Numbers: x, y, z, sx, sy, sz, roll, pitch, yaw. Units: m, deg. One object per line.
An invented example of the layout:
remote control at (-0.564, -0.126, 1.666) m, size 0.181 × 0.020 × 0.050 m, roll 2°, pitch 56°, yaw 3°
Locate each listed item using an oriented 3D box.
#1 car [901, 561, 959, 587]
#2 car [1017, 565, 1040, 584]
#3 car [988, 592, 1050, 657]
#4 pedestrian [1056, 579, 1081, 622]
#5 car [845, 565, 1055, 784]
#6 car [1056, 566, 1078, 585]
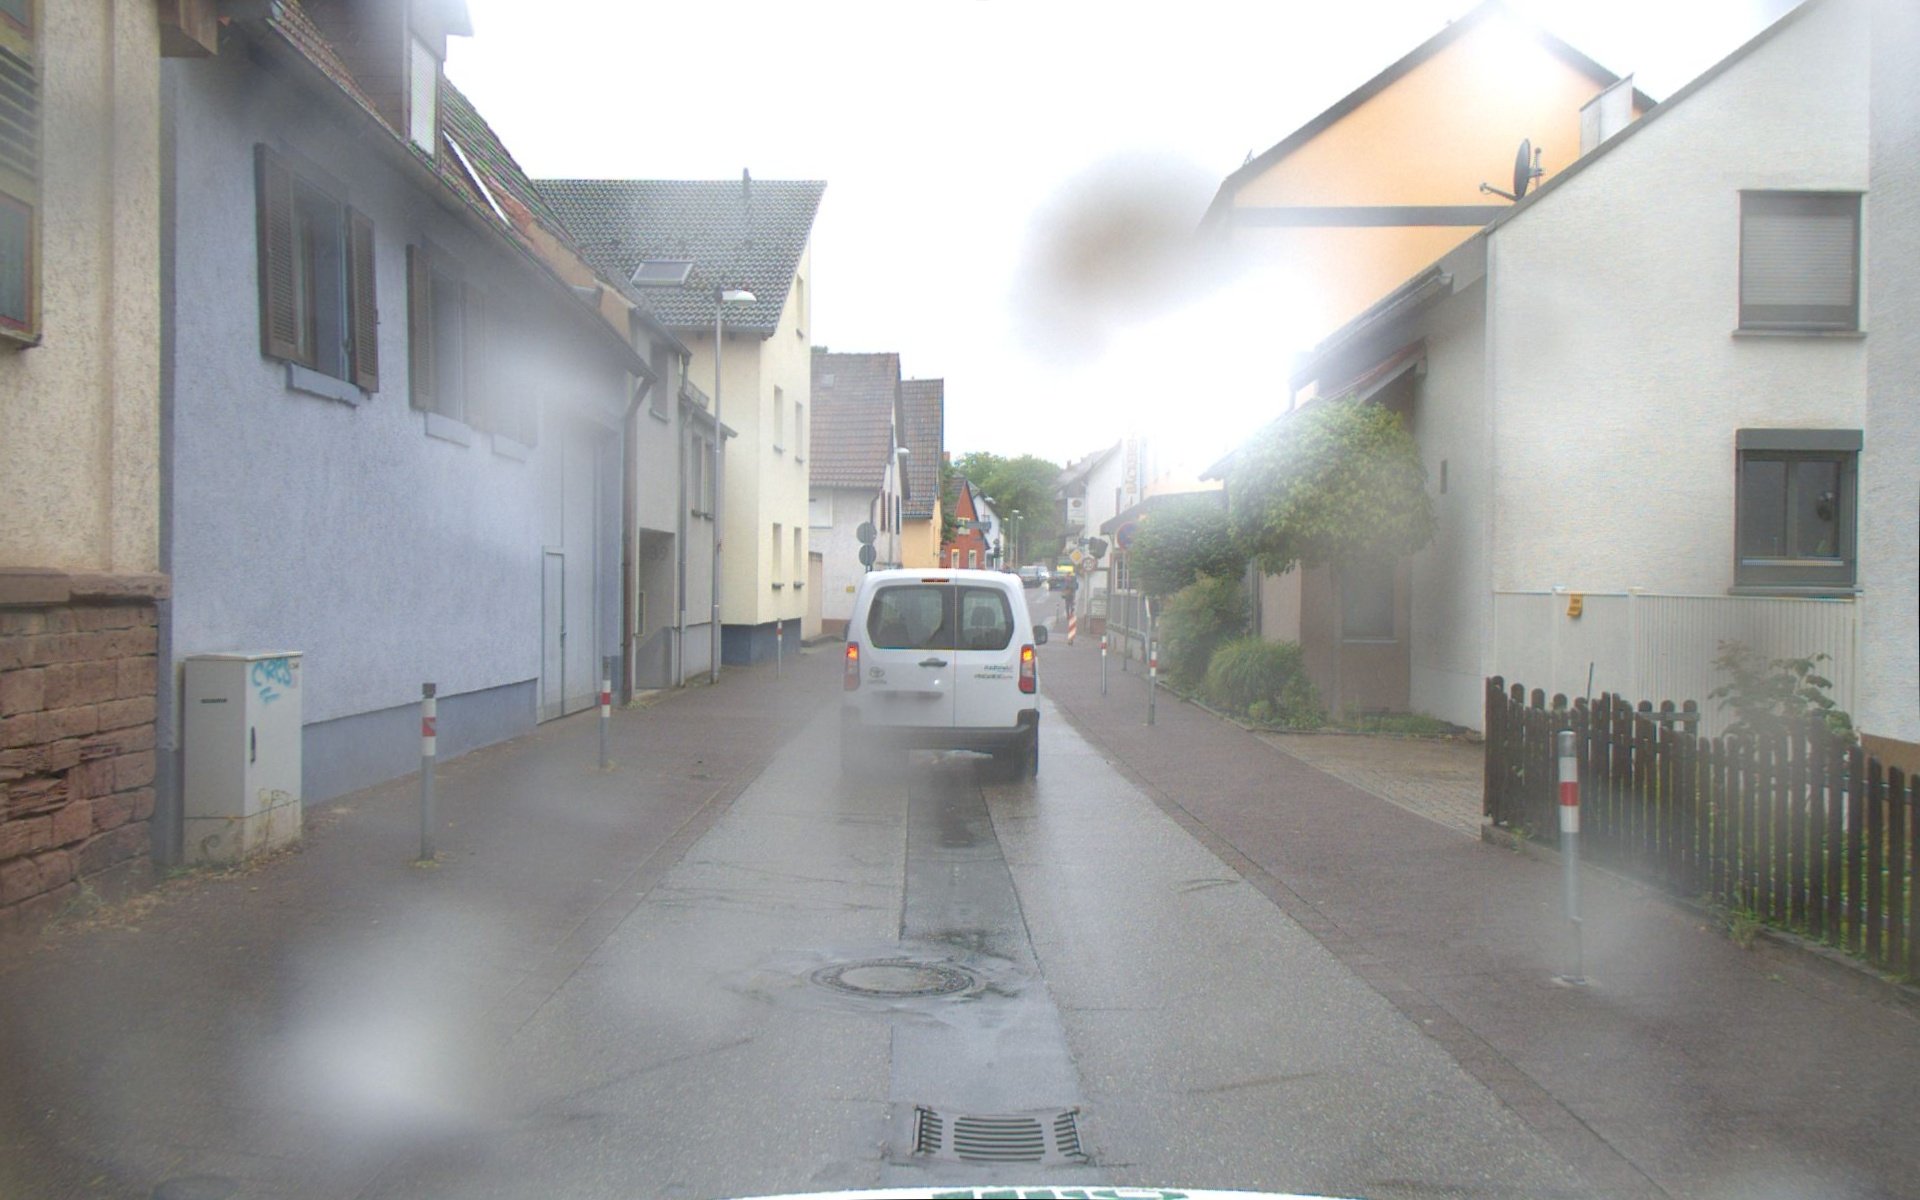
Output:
car at (-2.016, -1.766, 111.662) m, size 3.375 × 1.586 × 1.986 m, roll -4°, pitch 2°, yaw -23°
car at (5.641, -2.054, 135.730) m, size 1.555 × 1.466 × 3.769 m, roll 2°, pitch 0°, yaw 7°
car at (1.988, 0.789, 55.044) m, size 1.952 × 2.049 × 4.002 m, roll -1°, pitch 0°, yaw 3°
pedestrian at (4.914, 0.008, 74.970) m, size 1.029 × 1.926 × 0.877 m, roll -1°, pitch 0°, yaw 0°
car at (-0.109, 0.617, 15.795) m, size 1.738 × 1.811 × 3.999 m, roll -1°, pitch 0°, yaw -1°
car at (8.865, -2.052, 136.984) m, size 1.555 × 1.466 × 3.768 m, roll 2°, pitch 0°, yaw 6°
